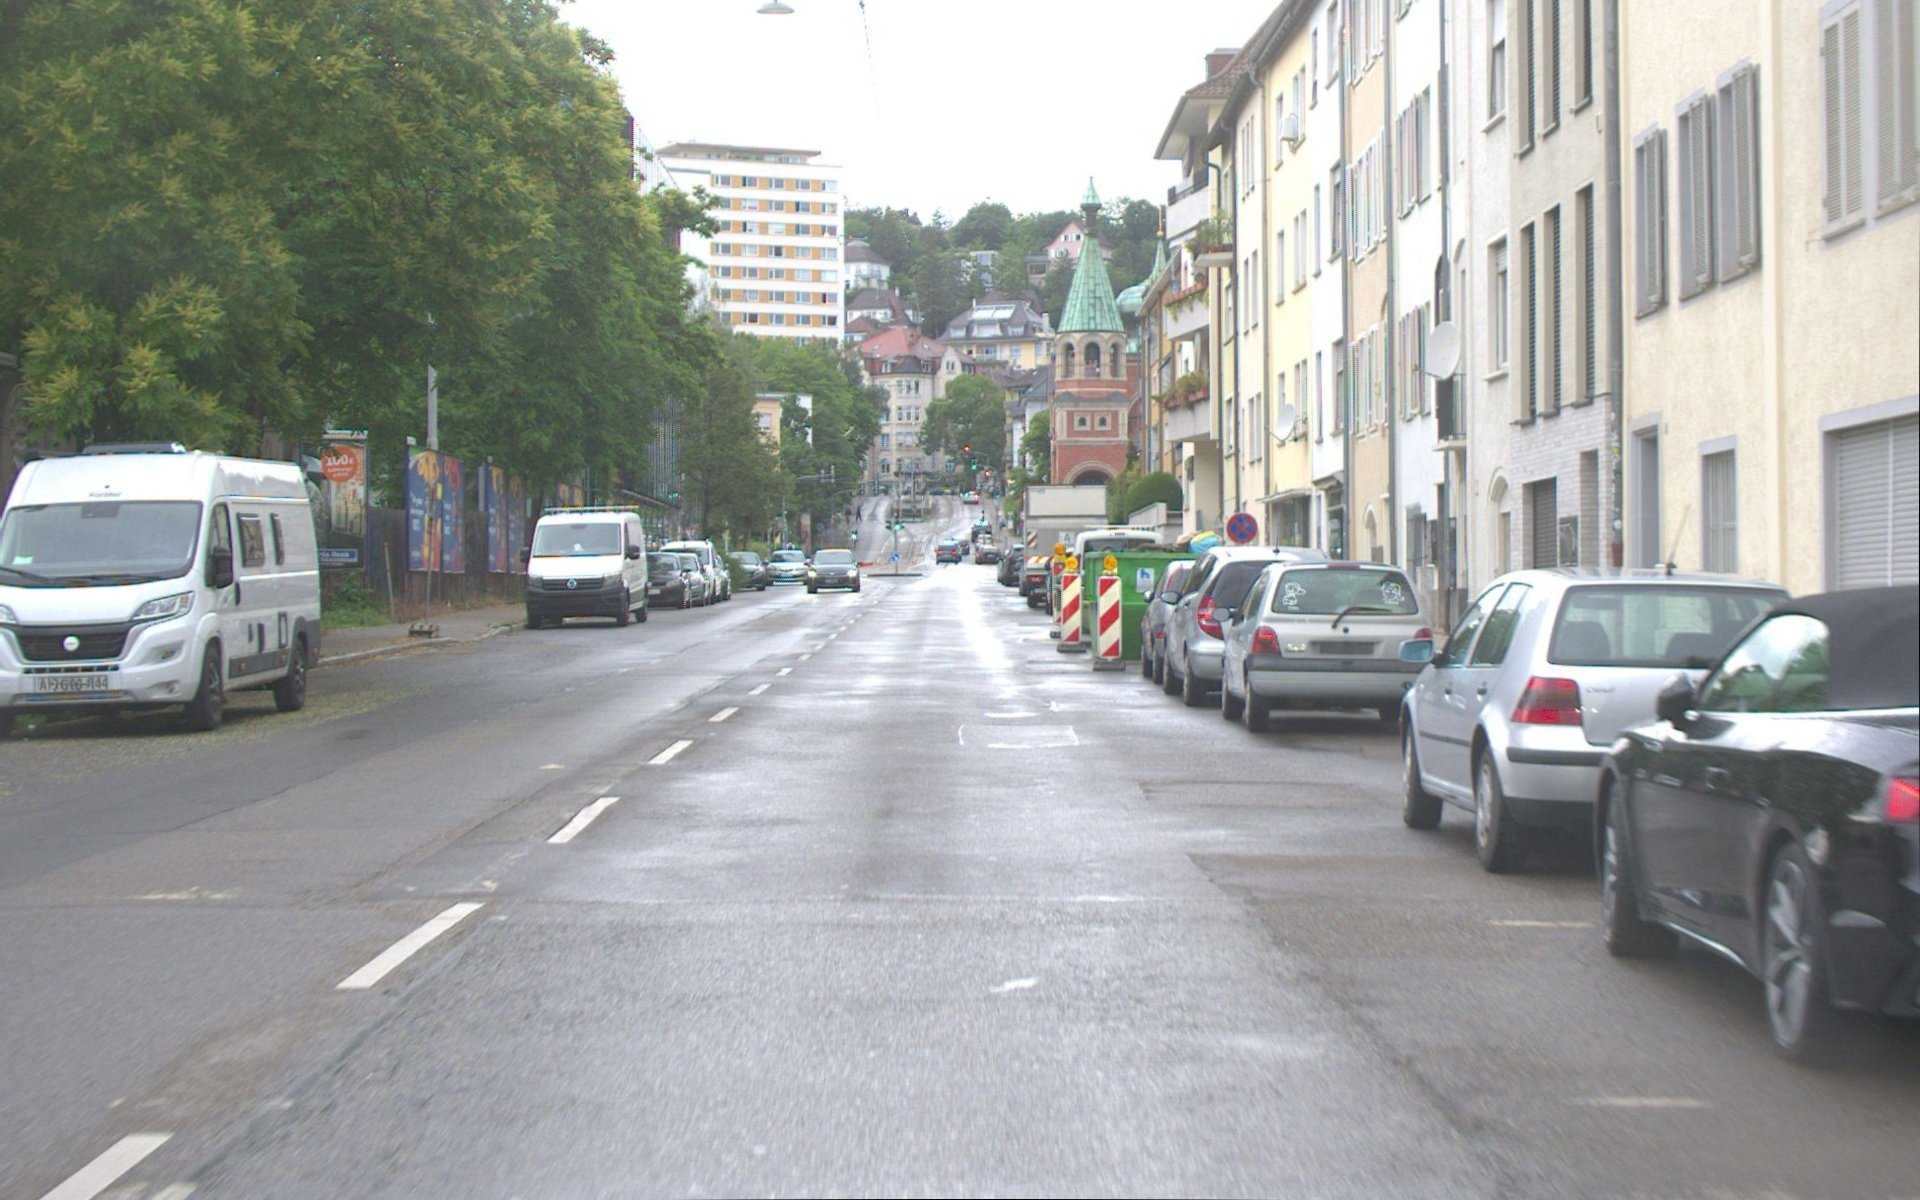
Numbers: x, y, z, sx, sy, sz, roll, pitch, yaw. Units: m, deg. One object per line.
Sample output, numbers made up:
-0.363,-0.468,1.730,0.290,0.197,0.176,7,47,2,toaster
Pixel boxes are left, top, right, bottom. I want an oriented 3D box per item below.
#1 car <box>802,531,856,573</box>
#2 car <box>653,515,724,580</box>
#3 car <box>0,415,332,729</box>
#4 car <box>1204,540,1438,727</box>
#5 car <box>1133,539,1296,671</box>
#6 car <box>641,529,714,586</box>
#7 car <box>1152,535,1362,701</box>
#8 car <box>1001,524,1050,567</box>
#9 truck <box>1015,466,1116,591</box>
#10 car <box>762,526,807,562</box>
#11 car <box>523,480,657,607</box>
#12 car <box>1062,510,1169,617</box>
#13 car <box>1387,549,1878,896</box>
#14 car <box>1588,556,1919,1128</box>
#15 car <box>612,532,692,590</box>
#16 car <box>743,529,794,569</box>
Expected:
-4.563,-1.668,119.152,1.805,1.411,4.384,0,1,-3,car
-7.744,-1.494,98.247,1.723,1.794,4.344,-1,1,-1,car
-7.525,-0.312,31.890,2.230,2.570,6.538,-2,2,-1,car
3.083,0.243,29.988,1.558,1.449,3.760,1,2,-1,car
2.979,0.020,40.782,1.626,1.406,3.842,1,2,0,car
-7.621,-1.153,92.981,1.682,1.457,4.277,-1,1,-1,car
2.976,0.134,35.173,1.716,1.519,4.001,1,2,-1,car
2.592,-2.173,136.525,1.817,1.647,4.076,1,1,0,car
2.728,-1.866,90.515,2.469,3.161,7.036,0,1,0,truck
-7.254,-2.311,142.166,1.709,1.445,4.295,-1,1,-1,car
-7.546,-1.194,70.704,2.012,2.478,5.983,-1,2,1,car
2.886,-0.716,64.509,1.817,1.917,4.239,-1,1,1,car
3.228,0.518,17.181,1.629,1.449,3.760,1,2,-1,car
3.168,0.620,10.770,1.629,1.449,3.760,1,1,-1,car
-7.647,-0.977,85.650,1.682,1.394,3.911,-1,1,-1,car
-7.045,-1.878,126.884,1.803,1.445,4.658,-1,1,-2,car
